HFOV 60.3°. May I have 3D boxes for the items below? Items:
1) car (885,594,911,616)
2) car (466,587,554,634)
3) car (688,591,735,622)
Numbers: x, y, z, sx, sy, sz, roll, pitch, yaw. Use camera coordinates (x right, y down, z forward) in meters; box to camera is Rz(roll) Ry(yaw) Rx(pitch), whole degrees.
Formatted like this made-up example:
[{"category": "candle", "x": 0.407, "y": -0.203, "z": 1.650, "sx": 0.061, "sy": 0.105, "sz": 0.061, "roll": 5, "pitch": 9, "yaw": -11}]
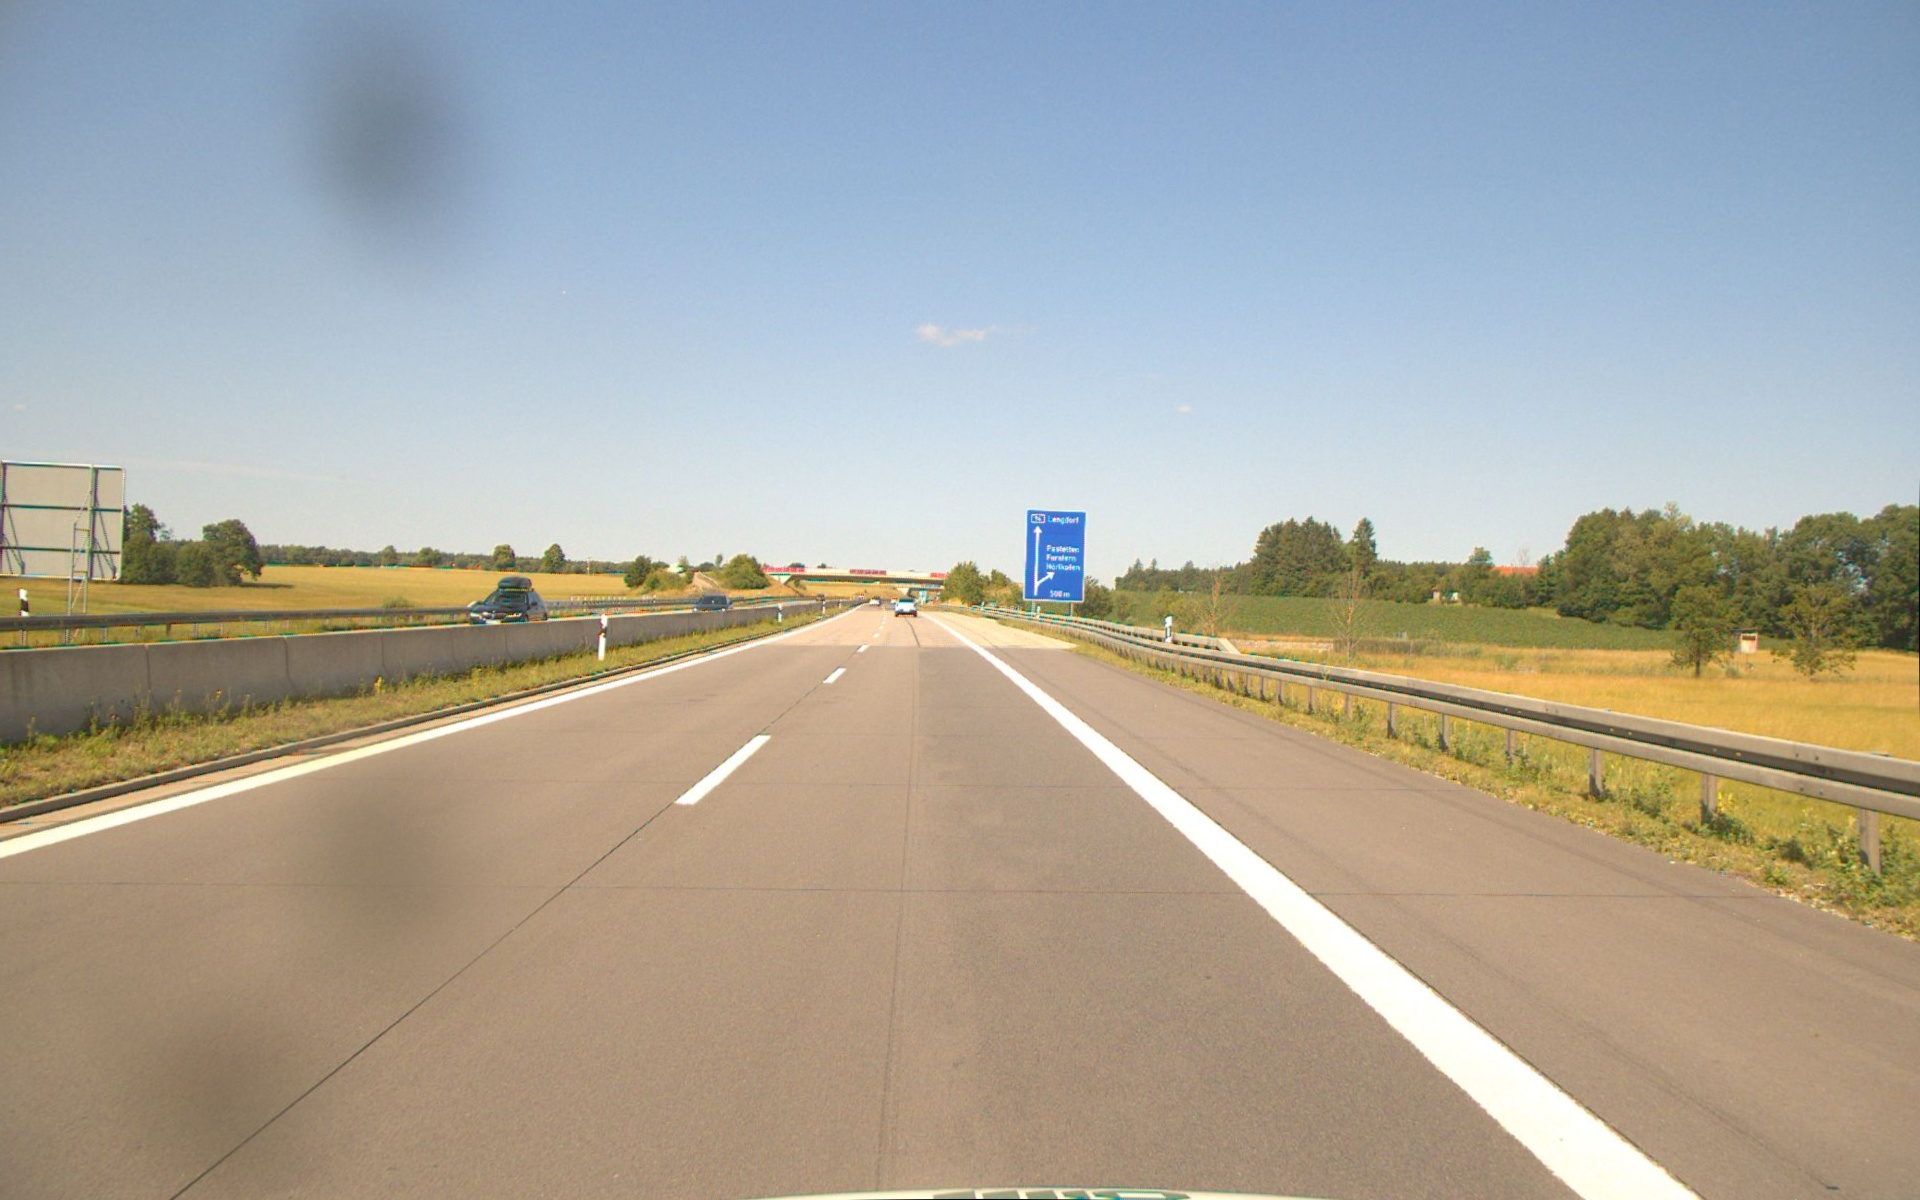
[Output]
[{"category": "car", "x": -5.075, "y": 0.408, "z": 135.726, "sx": 1.954, "sy": 1.761, "sz": 4.865, "roll": 2, "pitch": 0, "yaw": -4}, {"category": "car", "x": -15.566, "y": 0.336, "z": 57.409, "sx": 1.859, "sy": 1.550, "sz": 4.804, "roll": 0, "pitch": 0, "yaw": -2}, {"category": "car", "x": -12.694, "y": 0.333, "z": 84.747, "sx": 1.859, "sy": 1.550, "sz": 4.804, "roll": 0, "pitch": 0, "yaw": -2}]
